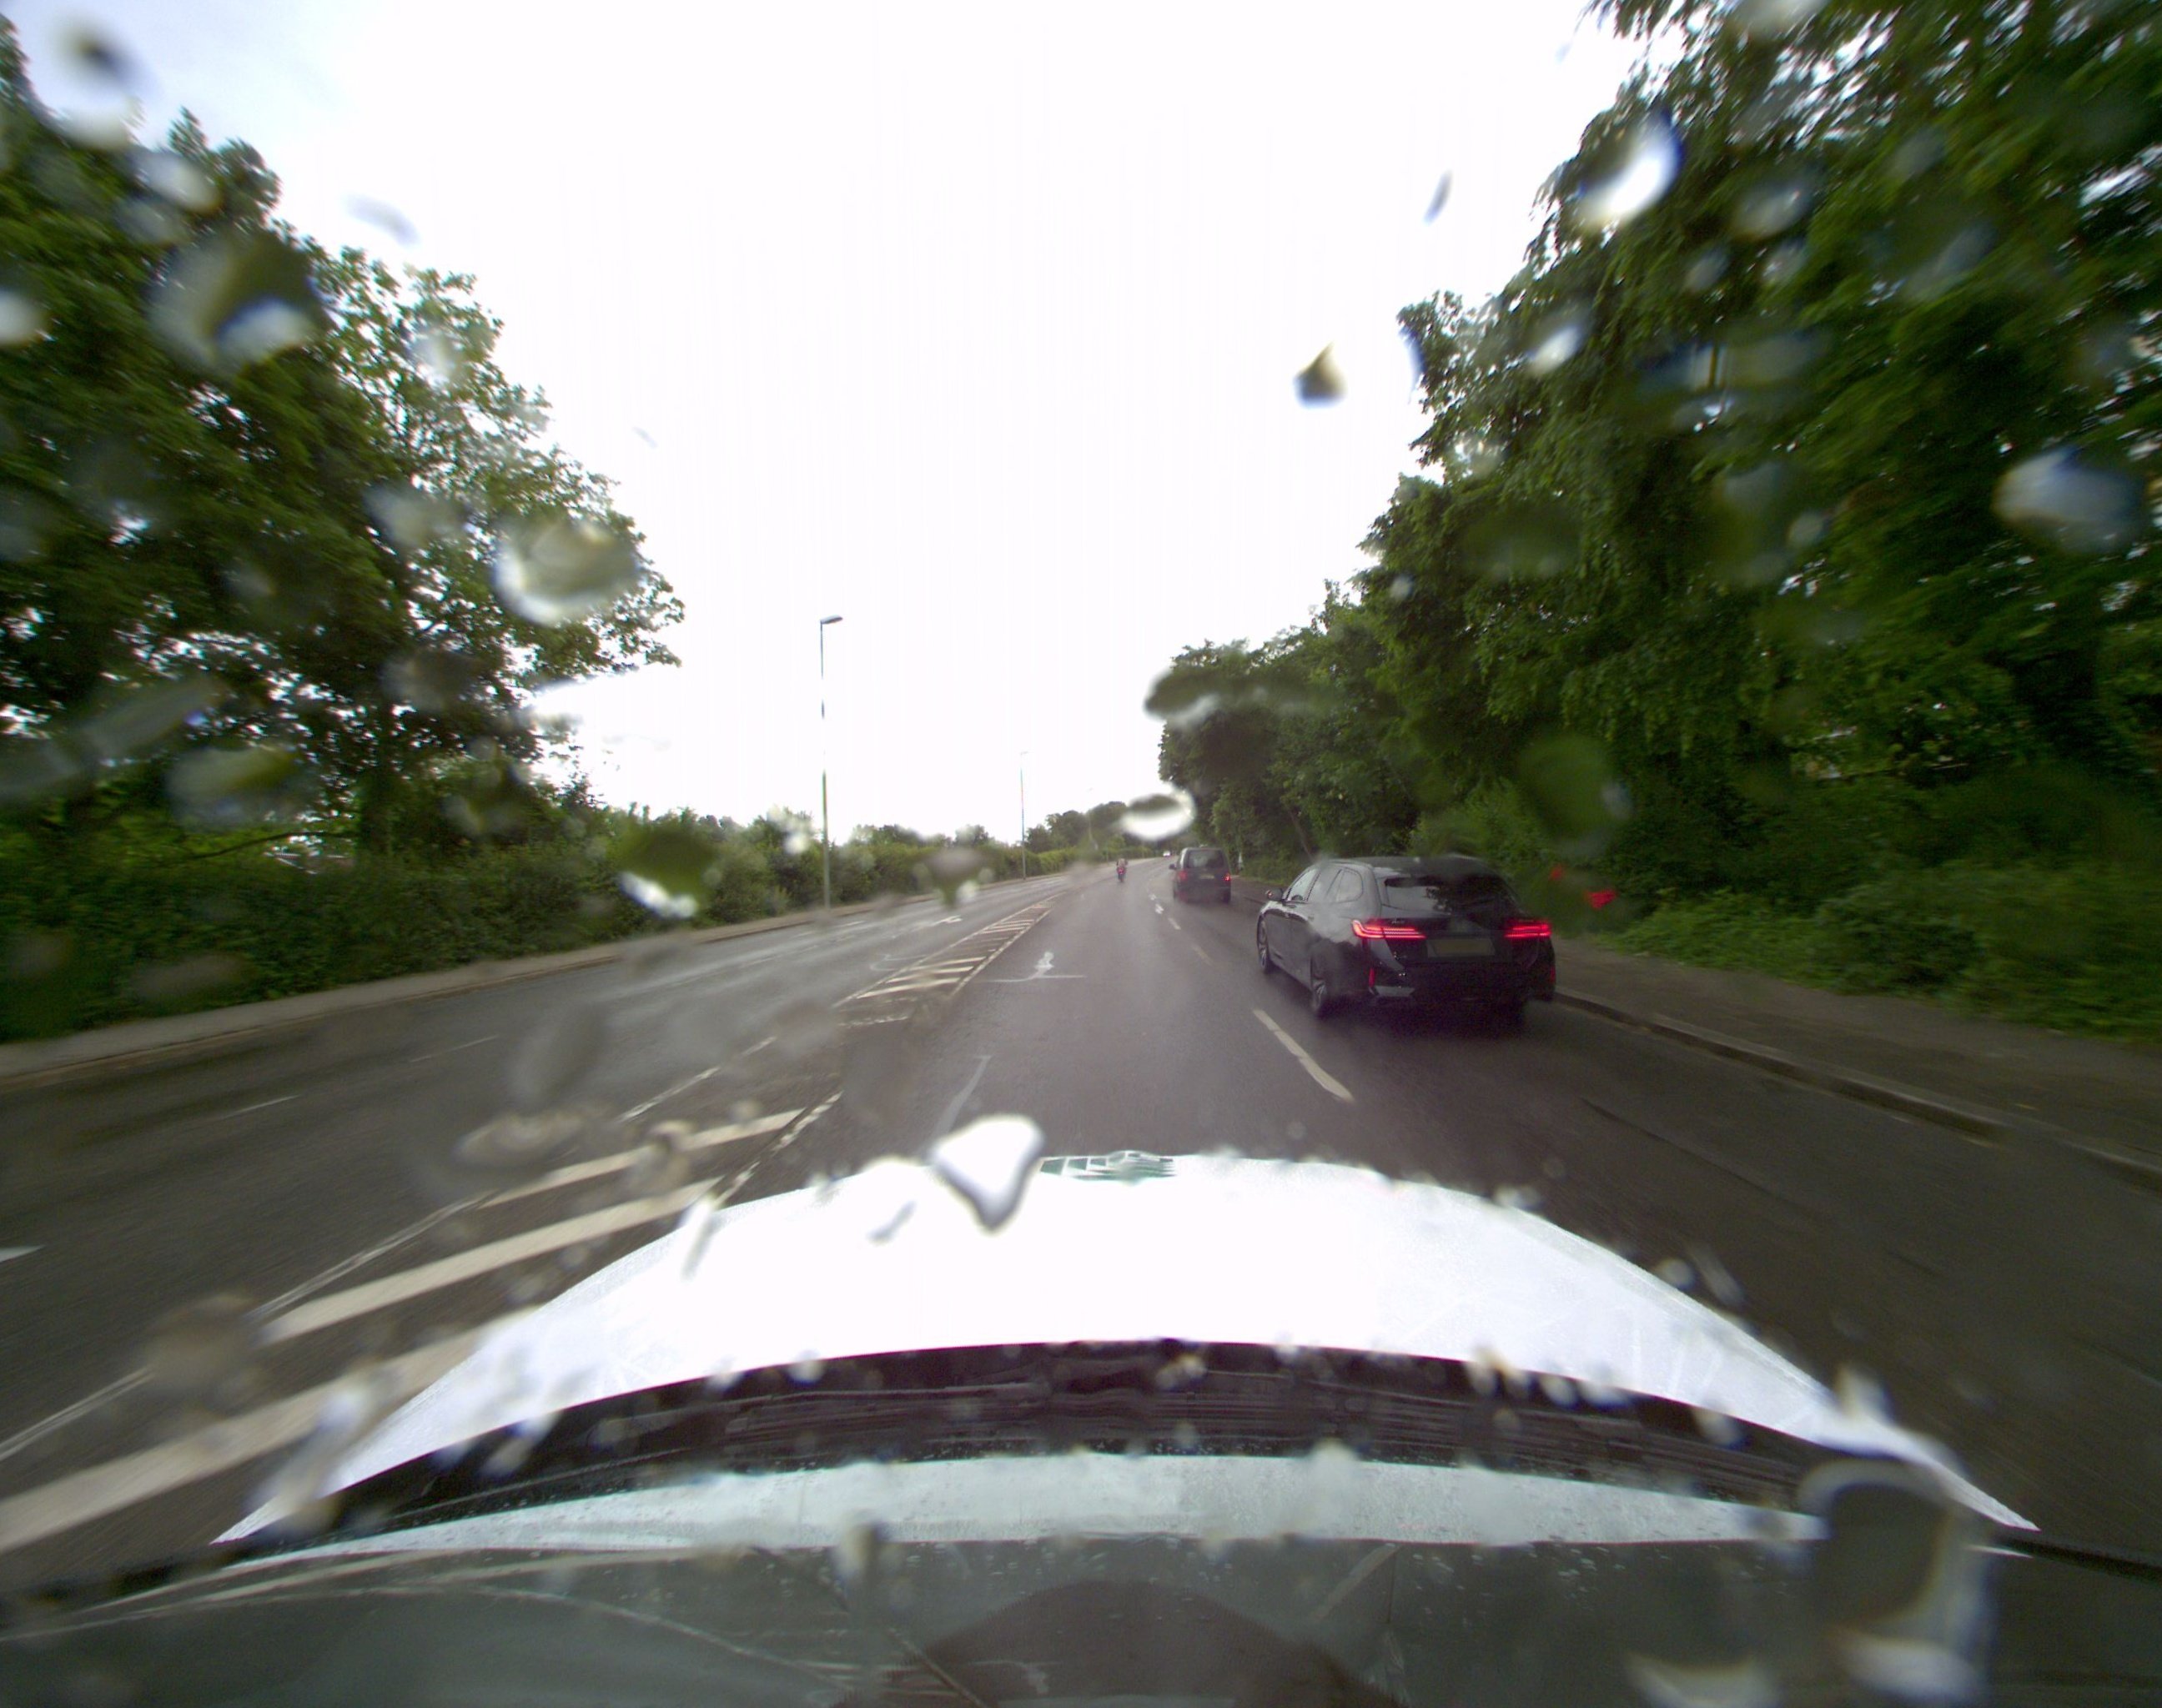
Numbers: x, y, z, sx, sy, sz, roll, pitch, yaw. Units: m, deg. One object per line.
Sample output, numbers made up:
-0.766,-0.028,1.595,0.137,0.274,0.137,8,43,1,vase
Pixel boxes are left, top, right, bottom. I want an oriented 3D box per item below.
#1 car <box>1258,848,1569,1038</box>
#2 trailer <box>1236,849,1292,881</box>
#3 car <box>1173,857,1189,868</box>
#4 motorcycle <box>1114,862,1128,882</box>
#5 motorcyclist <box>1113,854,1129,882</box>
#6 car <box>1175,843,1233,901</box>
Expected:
3.103,0.737,8.455,1.758,1.536,3.672,0,-1,0,car
11.824,0.701,52.763,3.332,1.647,1.201,6,1,6,trailer
13.985,1.156,113.397,2.002,1.415,4.499,-1,1,10,car
2.463,1.092,49.858,0.737,1.119,1.430,-1,1,8,motorcycle
2.445,0.848,49.798,0.840,1.647,0.469,-2,1,9,motorcyclist
4.209,0.558,28.315,1.758,1.810,3.912,-1,1,5,car
